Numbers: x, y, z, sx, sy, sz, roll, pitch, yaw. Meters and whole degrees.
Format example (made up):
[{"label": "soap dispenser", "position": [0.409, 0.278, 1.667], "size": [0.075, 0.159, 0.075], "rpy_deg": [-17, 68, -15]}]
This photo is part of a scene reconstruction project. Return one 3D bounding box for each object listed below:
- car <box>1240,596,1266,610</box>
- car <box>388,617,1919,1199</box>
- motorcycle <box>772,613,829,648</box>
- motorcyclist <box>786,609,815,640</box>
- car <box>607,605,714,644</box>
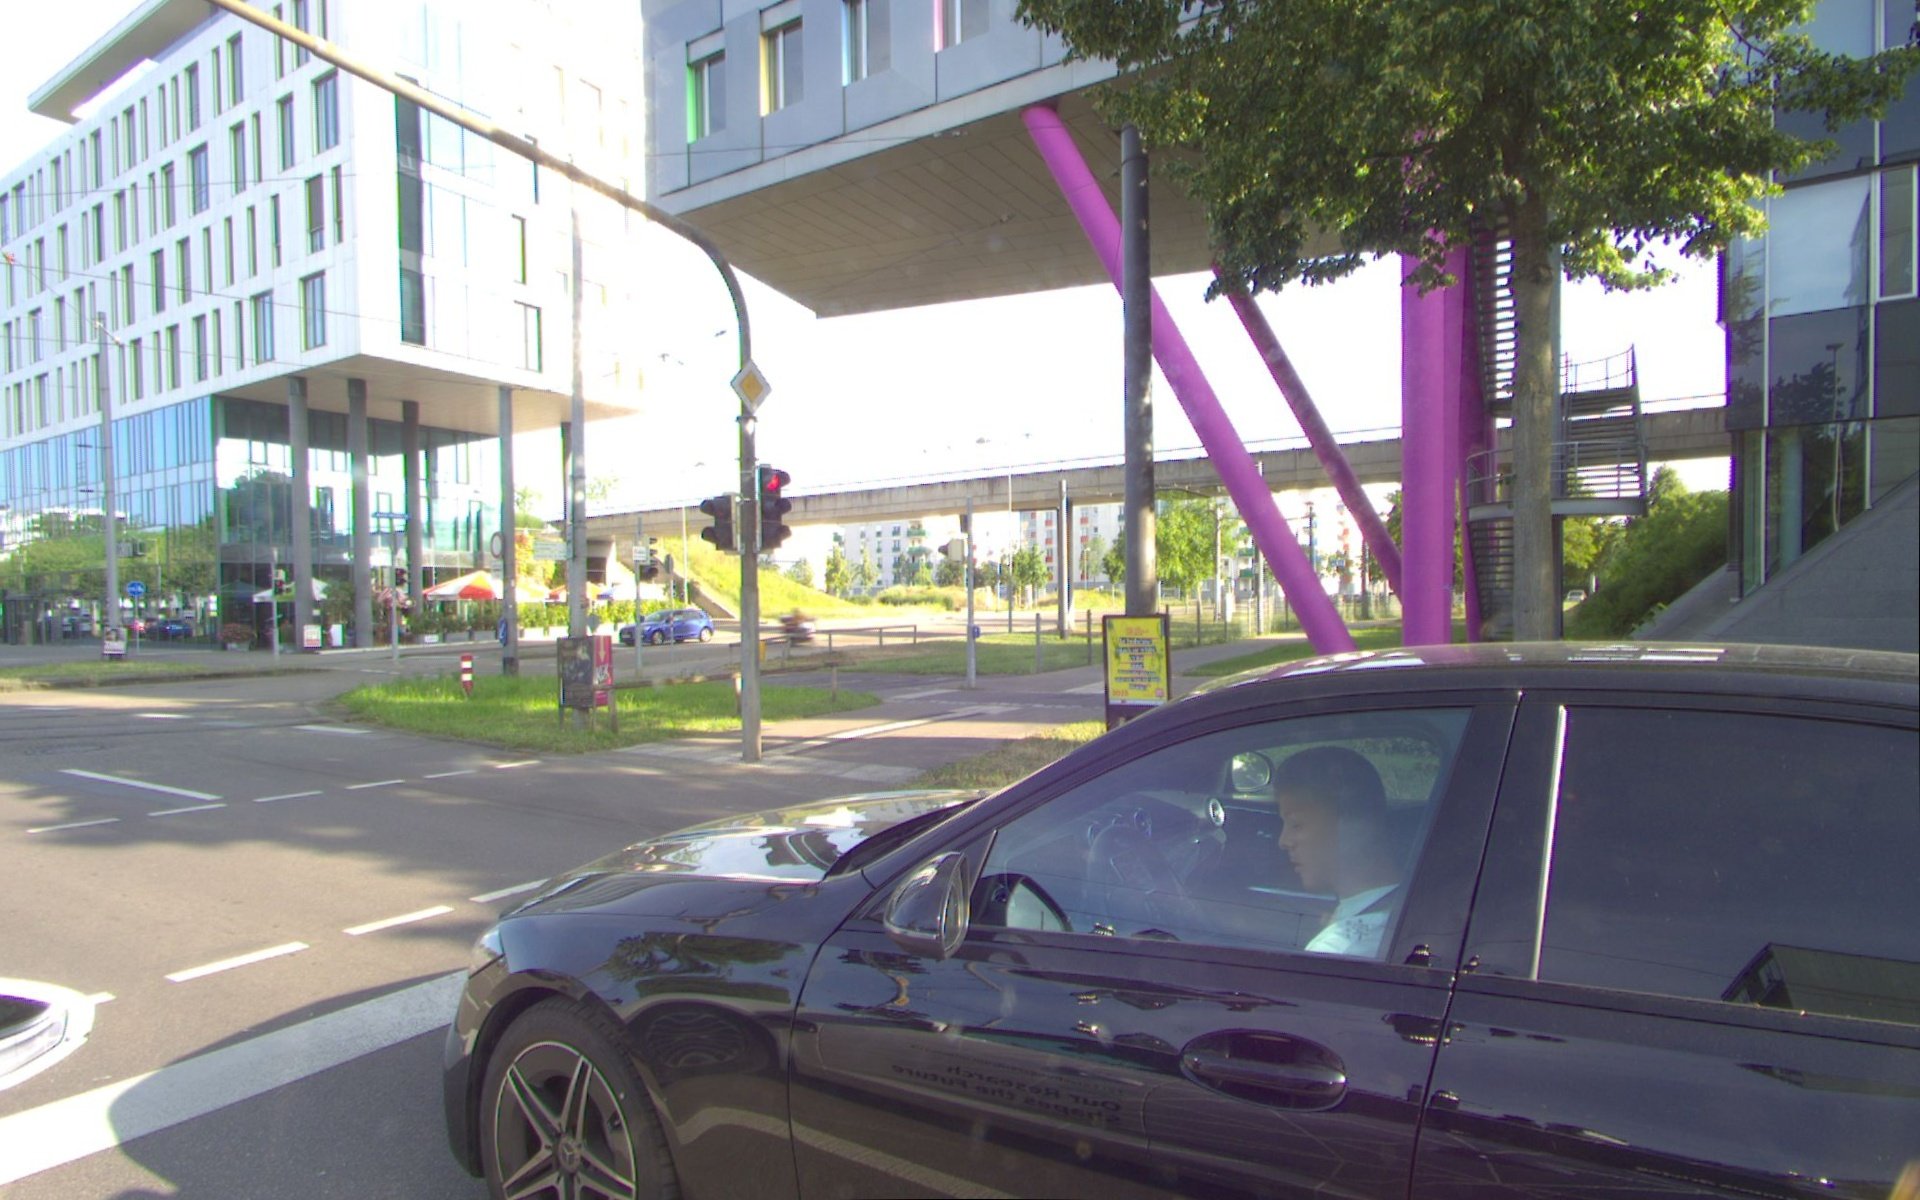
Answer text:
[{"label": "car", "position": [32.763, 0.345, 112.051], "size": [1.823, 1.443, 4.198], "rpy_deg": [-1, 0, 1]}, {"label": "car", "position": [0.851, 0.794, 2.133], "size": [4.493, 1.469, 1.834], "rpy_deg": [0, -1, 34]}, {"label": "motorcycle", "position": [-6.367, 1.190, 40.057], "size": [0.809, 1.280, 2.535], "rpy_deg": [0, 1, 31]}, {"label": "motorcyclist", "position": [-6.366, 0.980, 40.039], "size": [0.773, 1.218, 0.843], "rpy_deg": [0, -1, 33]}, {"label": "car", "position": [-12.476, 0.986, 41.948], "size": [1.832, 1.443, 4.176], "rpy_deg": [0, 1, 31]}]
